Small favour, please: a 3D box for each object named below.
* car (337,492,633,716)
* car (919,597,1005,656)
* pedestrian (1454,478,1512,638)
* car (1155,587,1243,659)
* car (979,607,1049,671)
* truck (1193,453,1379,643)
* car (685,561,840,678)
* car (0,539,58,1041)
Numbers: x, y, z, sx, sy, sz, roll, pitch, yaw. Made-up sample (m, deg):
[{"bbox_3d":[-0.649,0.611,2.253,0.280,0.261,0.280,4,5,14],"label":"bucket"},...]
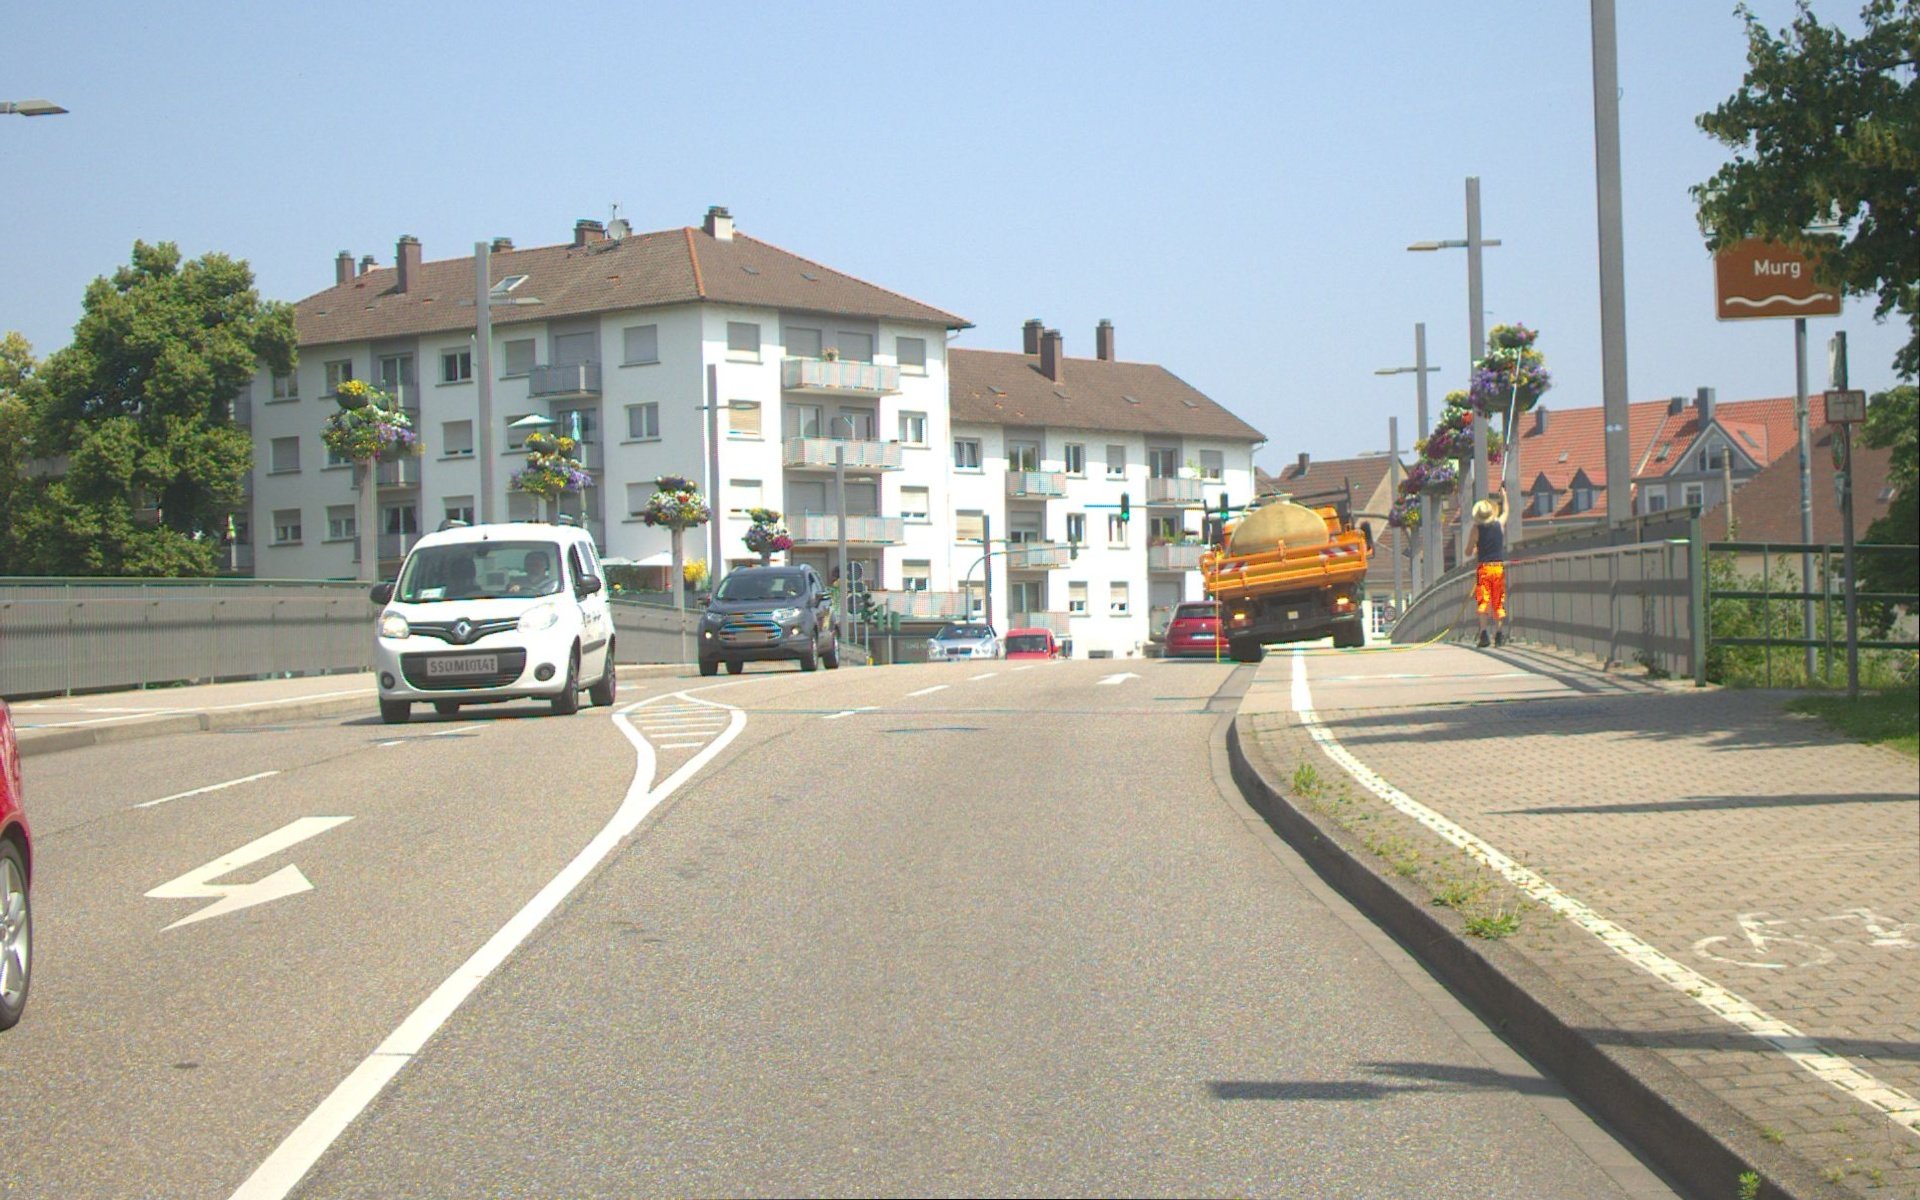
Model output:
[{"bbox_3d":[-4.355,0.012,32.239,1.837,1.854,4.663,-3,0,3],"label":"car"},{"bbox_3d":[0.083,0.687,86.288,1.699,1.354,4.455,1,-1,6],"label":"car"},{"bbox_3d":[6.502,-0.520,42.742,0.546,1.953,0.673,-1,-2,-2],"label":"pedestrian"},{"bbox_3d":[5.731,0.561,82.547,1.990,1.607,4.341,-2,-1,4],"label":"car"},{"bbox_3d":[1.601,1.130,100.528,1.736,1.771,4.176,-1,0,5],"label":"car"},{"bbox_3d":[5.037,-0.737,52.820,2.606,2.682,5.821,-2,-1,6],"label":"truck"},{"bbox_3d":[-2.958,0.292,52.241,1.737,1.635,3.920,-3,0,5],"label":"car"},{"bbox_3d":[-3.570,0.581,8.778,1.646,1.459,3.861,-1,1,-3],"label":"car"}]
